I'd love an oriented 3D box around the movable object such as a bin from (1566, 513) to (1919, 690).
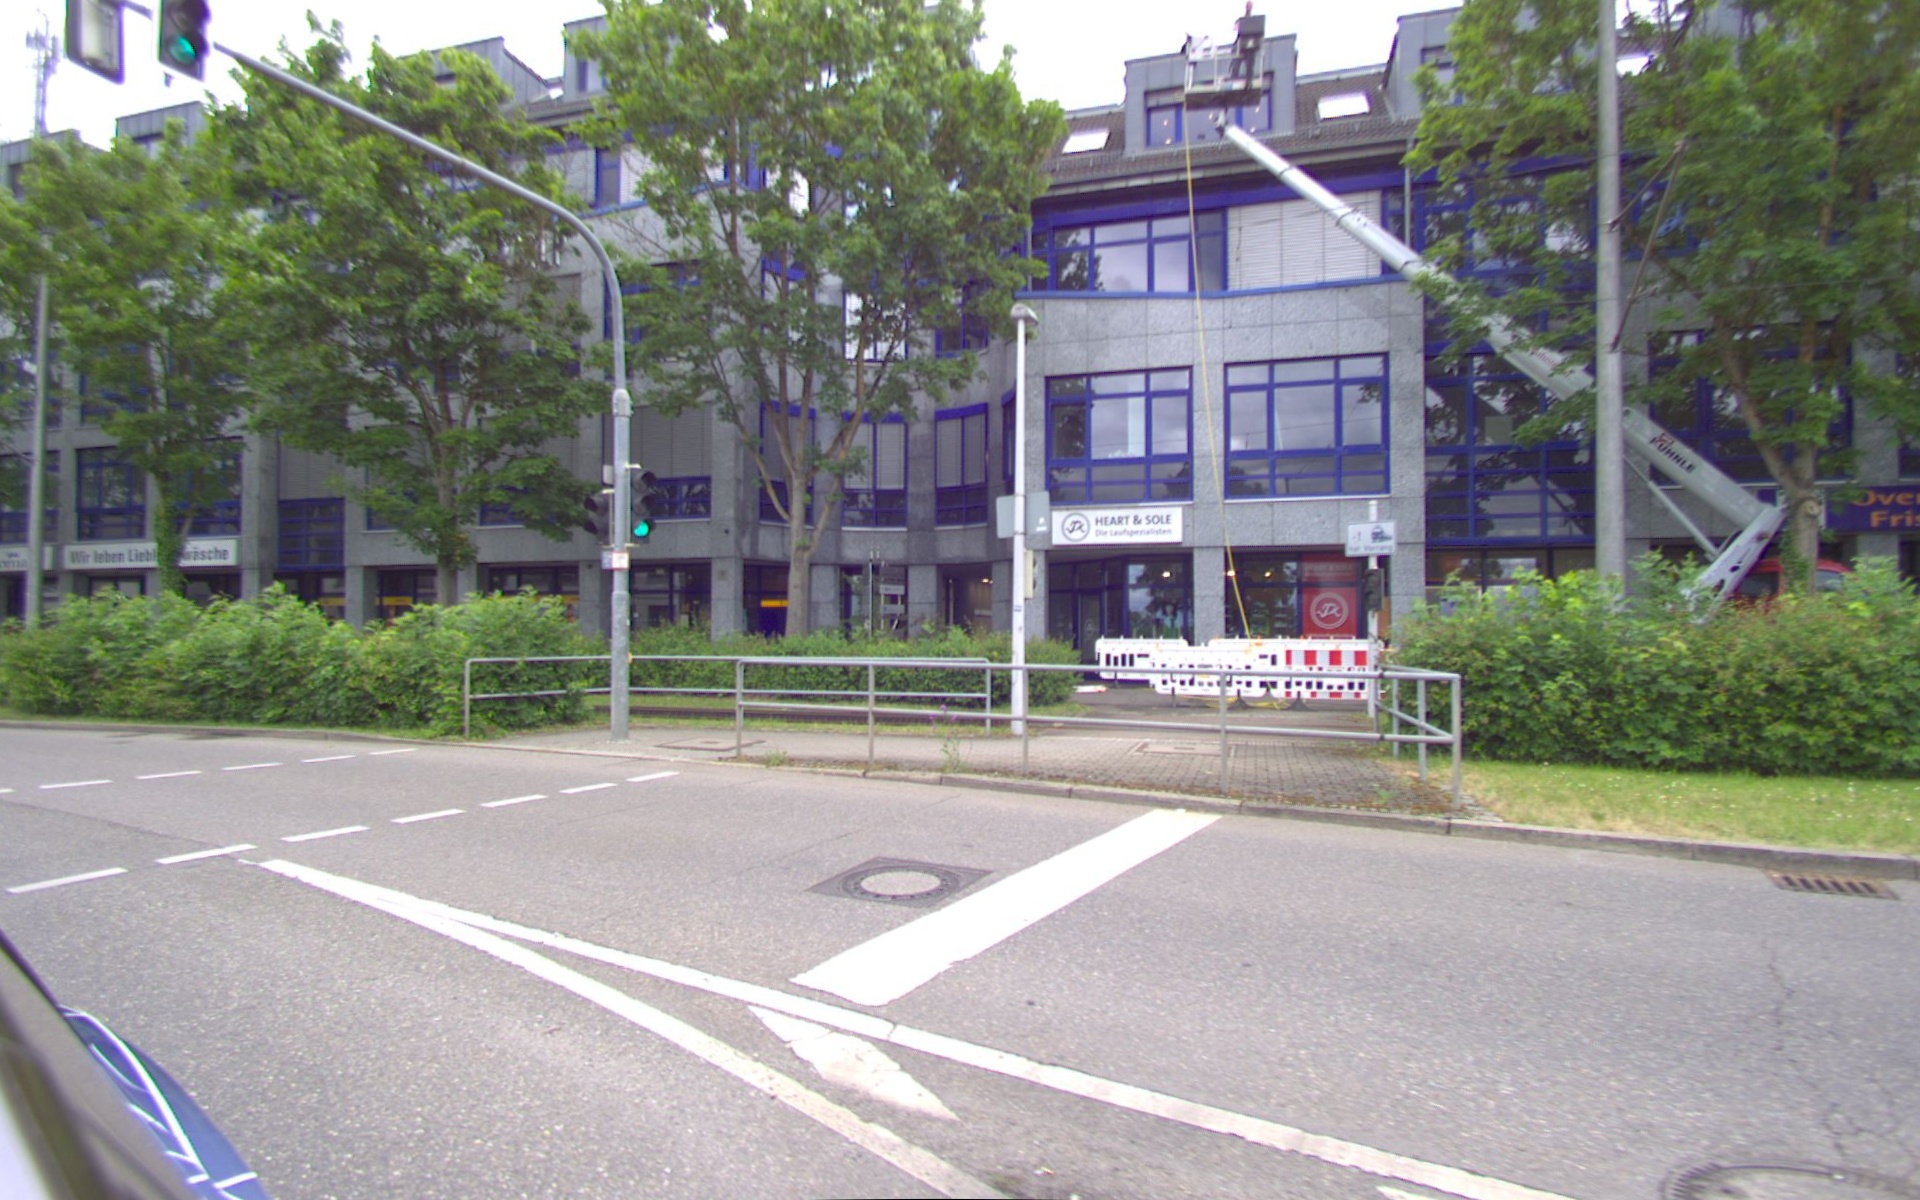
[{"bbox_3d":[12.248,0.060,16.064,4.091,2.550,1.901,-1,0,17],"label":"movable object such as a bin"}]
